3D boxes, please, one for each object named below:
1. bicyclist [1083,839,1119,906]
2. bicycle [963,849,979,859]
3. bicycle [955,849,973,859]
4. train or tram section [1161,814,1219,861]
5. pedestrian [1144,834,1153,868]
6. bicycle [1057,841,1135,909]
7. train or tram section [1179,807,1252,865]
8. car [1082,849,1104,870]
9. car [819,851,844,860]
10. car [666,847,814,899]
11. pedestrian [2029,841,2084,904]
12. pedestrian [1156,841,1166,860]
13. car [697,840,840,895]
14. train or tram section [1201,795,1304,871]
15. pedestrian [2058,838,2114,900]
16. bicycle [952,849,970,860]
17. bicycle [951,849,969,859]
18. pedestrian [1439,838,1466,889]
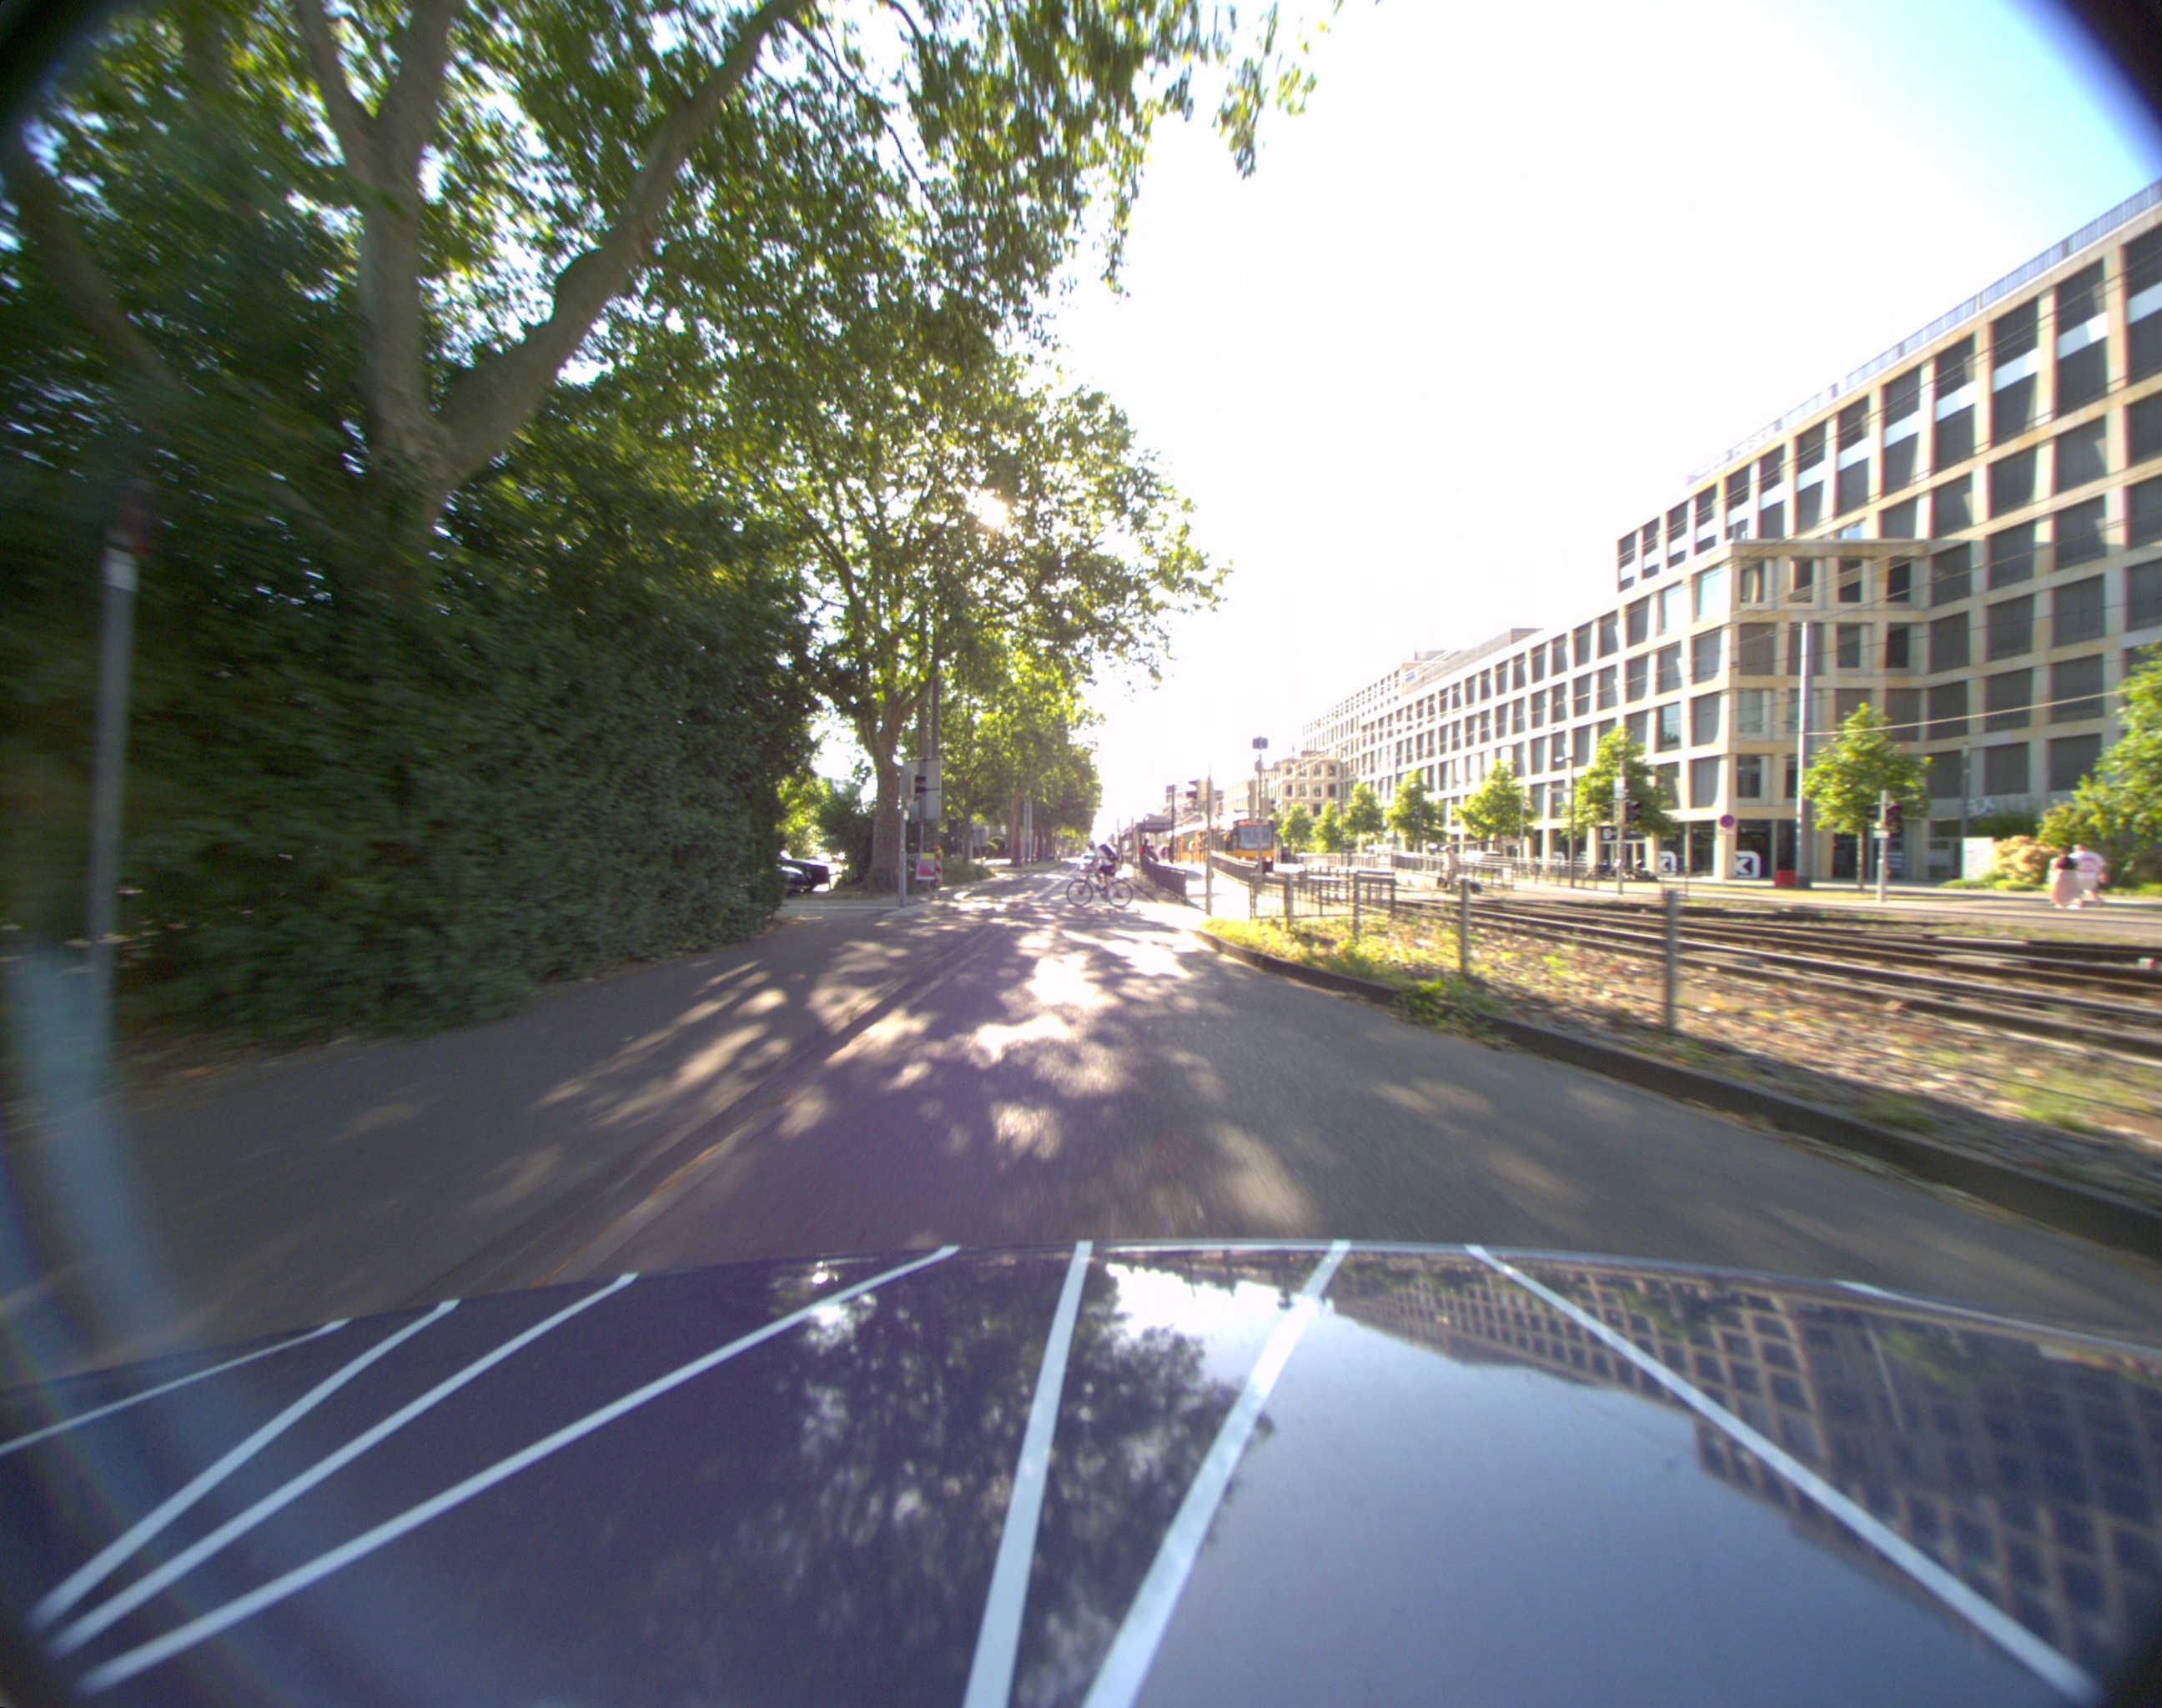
[{"bbox_3d":[0.524,0.474,19.785,0.908,1.707,0.771,-1,1,1],"label":"bicyclist"},{"bbox_3d":[-12.447,-0.051,85.861,1.692,1.114,0.439,1,1,0],"label":"bicycle"},{"bbox_3d":[-12.427,-0.002,80.624,1.777,1.114,0.439,1,1,0],"label":"bicycle"},{"bbox_3d":[9.698,-1.390,69.400,3.317,3.807,14.217,-1,1,0],"label":"train or tram section"},{"bbox_3d":[3.442,-0.177,38.667,0.413,1.707,0.665,-1,1,0],"label":"pedestrian"},{"bbox_3d":[0.388,0.534,19.782,1.971,1.707,0.591,-1,1,1],"label":"bicycle"},{"bbox_3d":[9.636,-1.242,56.163,3.317,3.807,11.842,-1,1,0],"label":"train or tram section"},{"bbox_3d":[0.914,0.437,59.793,1.649,1.555,3.665,-1,1,0],"label":"car"},{"bbox_3d":[-41.441,0.236,126.087,3.658,1.555,1.652,0,1,19],"label":"car"},{"bbox_3d":[-10.018,0.538,22.478,3.603,1.454,1.678,-1,1,2],"label":"car"},{"bbox_3d":[27.246,0.505,21.239,0.665,1.707,0.671,-1,1,-1],"label":"pedestrian"},{"bbox_3d":[7.534,-0.296,71.634,0.795,1.774,0.625,-1,1,1],"label":"pedestrian"},{"bbox_3d":[-10.378,0.428,25.440,3.996,1.754,1.833,-1,1,1],"label":"car"},{"bbox_3d":[9.573,-1.115,44.177,3.317,3.807,11.842,-1,1,0],"label":"train or tram section"},{"bbox_3d":[28.245,0.423,21.359,0.665,1.707,0.671,-1,1,-1],"label":"pedestrian"},{"bbox_3d":[-12.255,0.030,77.328,1.778,1.114,0.439,1,1,-7],"label":"bicycle"},{"bbox_3d":[-12.664,0.001,79.581,1.777,1.114,0.439,1,1,0],"label":"bicycle"},{"bbox_3d":[12.499,0.321,25.579,0.670,1.707,0.725,-1,1,12],"label":"pedestrian"}]
